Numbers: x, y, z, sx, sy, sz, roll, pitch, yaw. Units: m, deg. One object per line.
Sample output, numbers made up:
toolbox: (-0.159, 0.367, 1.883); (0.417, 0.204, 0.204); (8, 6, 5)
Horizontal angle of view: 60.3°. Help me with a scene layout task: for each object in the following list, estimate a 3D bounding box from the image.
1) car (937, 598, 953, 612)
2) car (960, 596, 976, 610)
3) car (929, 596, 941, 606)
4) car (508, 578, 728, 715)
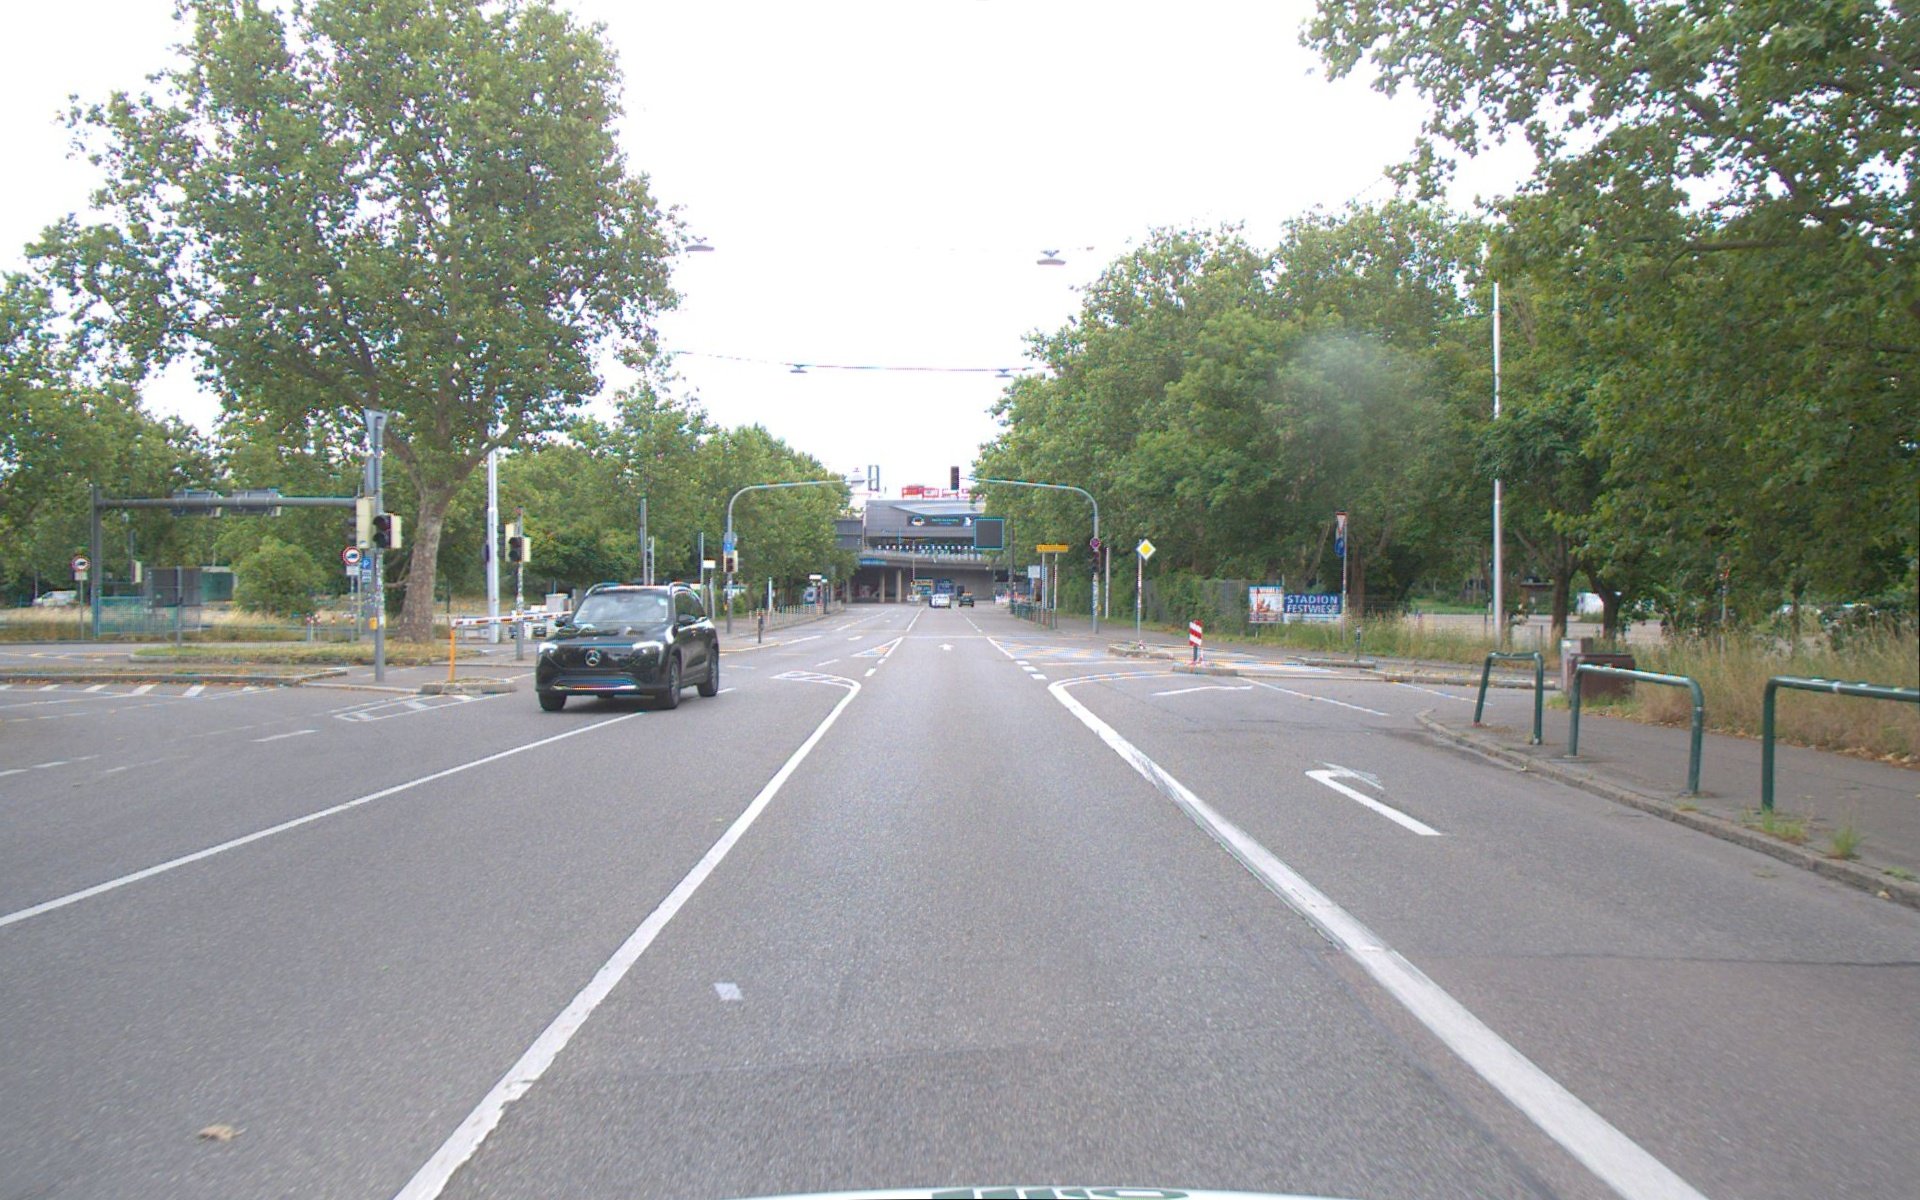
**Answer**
car: (-1.645, 0.536, 184.923); (1.742, 1.486, 3.822); (2, 0, 0)
car: (0.996, 0.378, 208.629); (1.966, 1.728, 4.069); (1, 0, 0)
car: (-2.913, 0.165, 193.516); (1.382, 1.133, 3.037); (1, 0, 0)
car: (-4.648, 0.585, 23.201); (1.952, 1.689, 4.518); (-1, 0, 2)
